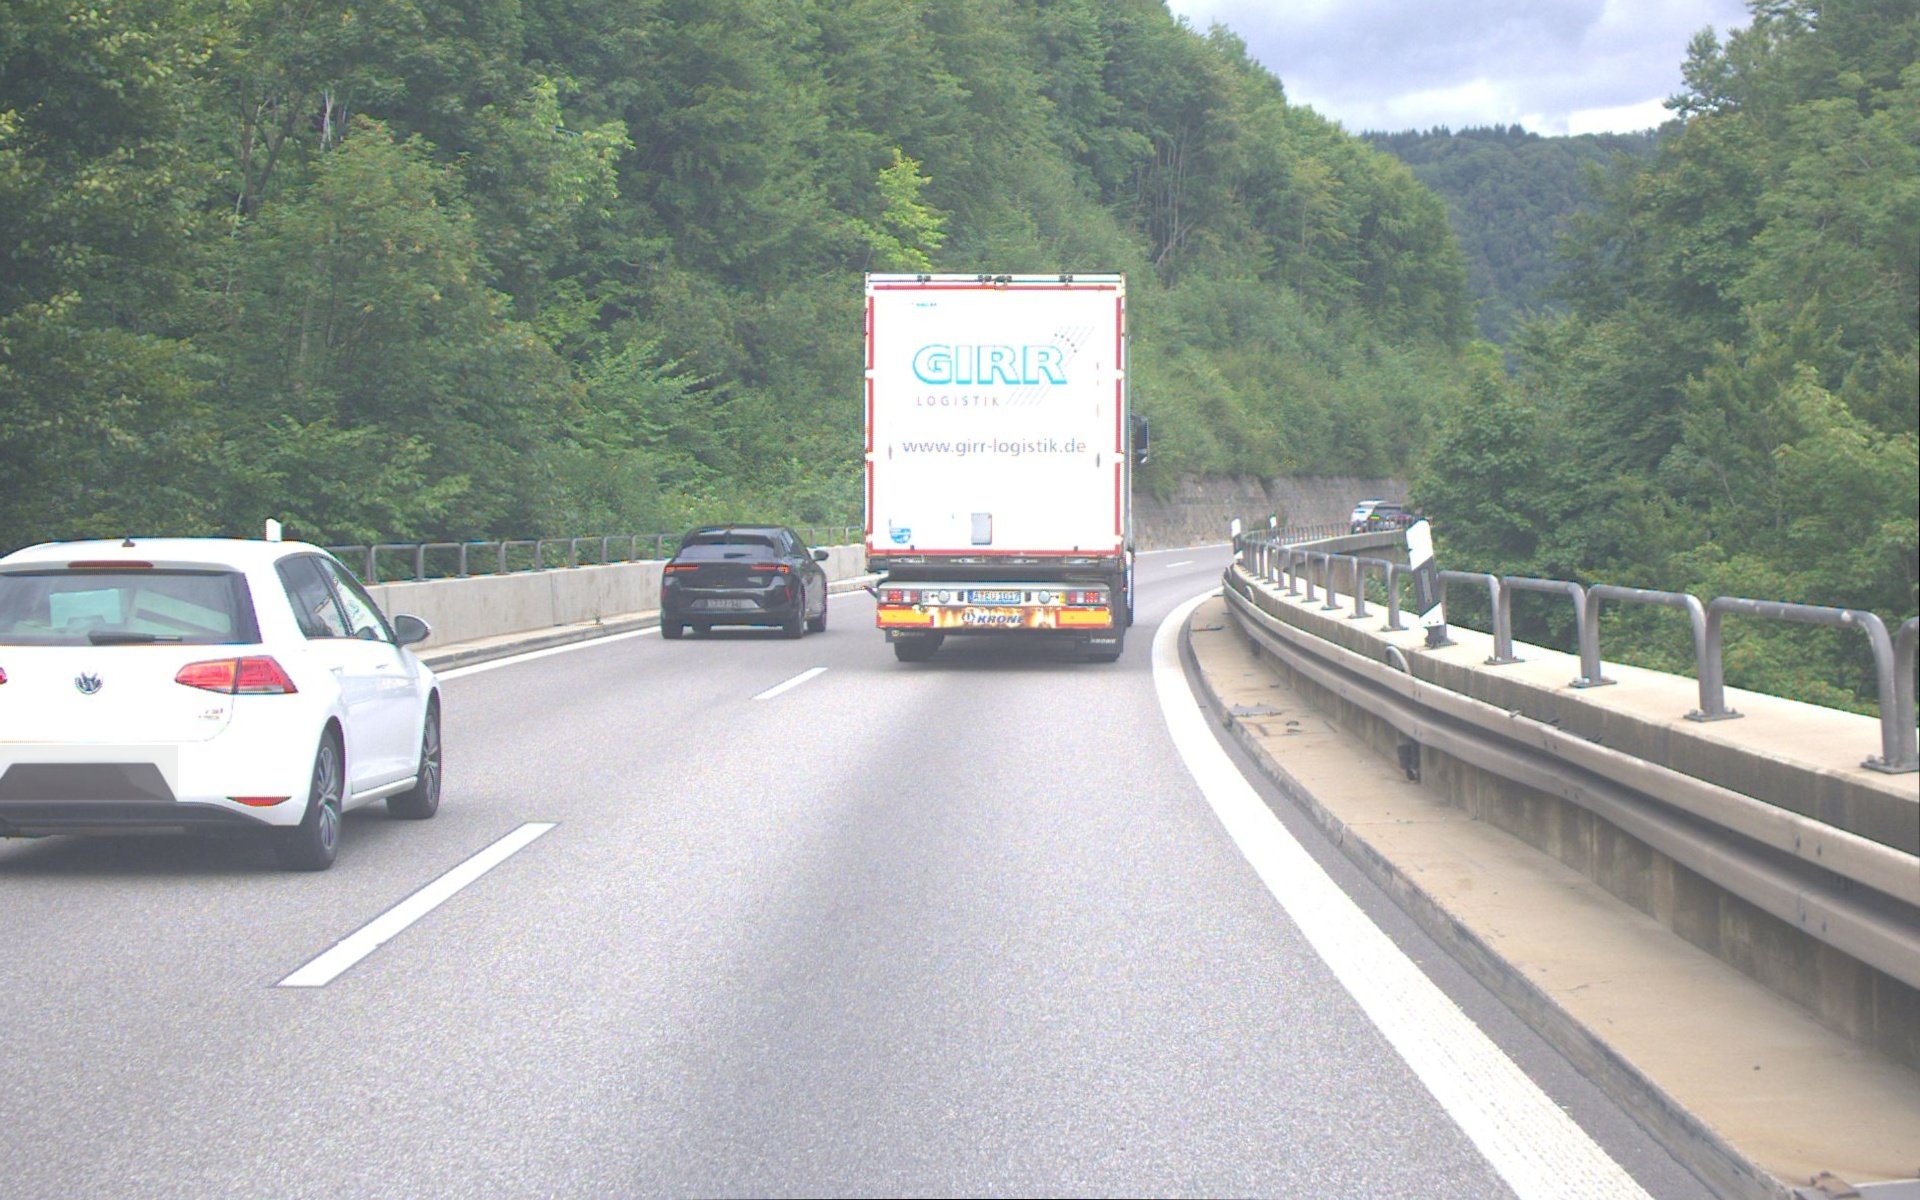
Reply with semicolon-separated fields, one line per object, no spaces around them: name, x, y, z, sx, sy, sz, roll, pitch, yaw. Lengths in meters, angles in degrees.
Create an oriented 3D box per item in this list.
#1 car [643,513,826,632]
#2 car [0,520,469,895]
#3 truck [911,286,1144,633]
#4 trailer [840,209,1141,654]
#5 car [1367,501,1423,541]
car;-2.866;-0.371;44.636;1.773;1.456;4.581;0;1;4
car;-3.585;0.385;16.206;1.845;1.476;4.628;-1;2;0
truck;1.008;-1.782;46.181;2.813;4.288;6.258;-1;0;3
trailer;0.618;-1.701;39.702;2.813;4.288;12.243;-1;1;3
car;18.530;-3.348;146.334;1.994;1.560;3.998;-1;0;12
